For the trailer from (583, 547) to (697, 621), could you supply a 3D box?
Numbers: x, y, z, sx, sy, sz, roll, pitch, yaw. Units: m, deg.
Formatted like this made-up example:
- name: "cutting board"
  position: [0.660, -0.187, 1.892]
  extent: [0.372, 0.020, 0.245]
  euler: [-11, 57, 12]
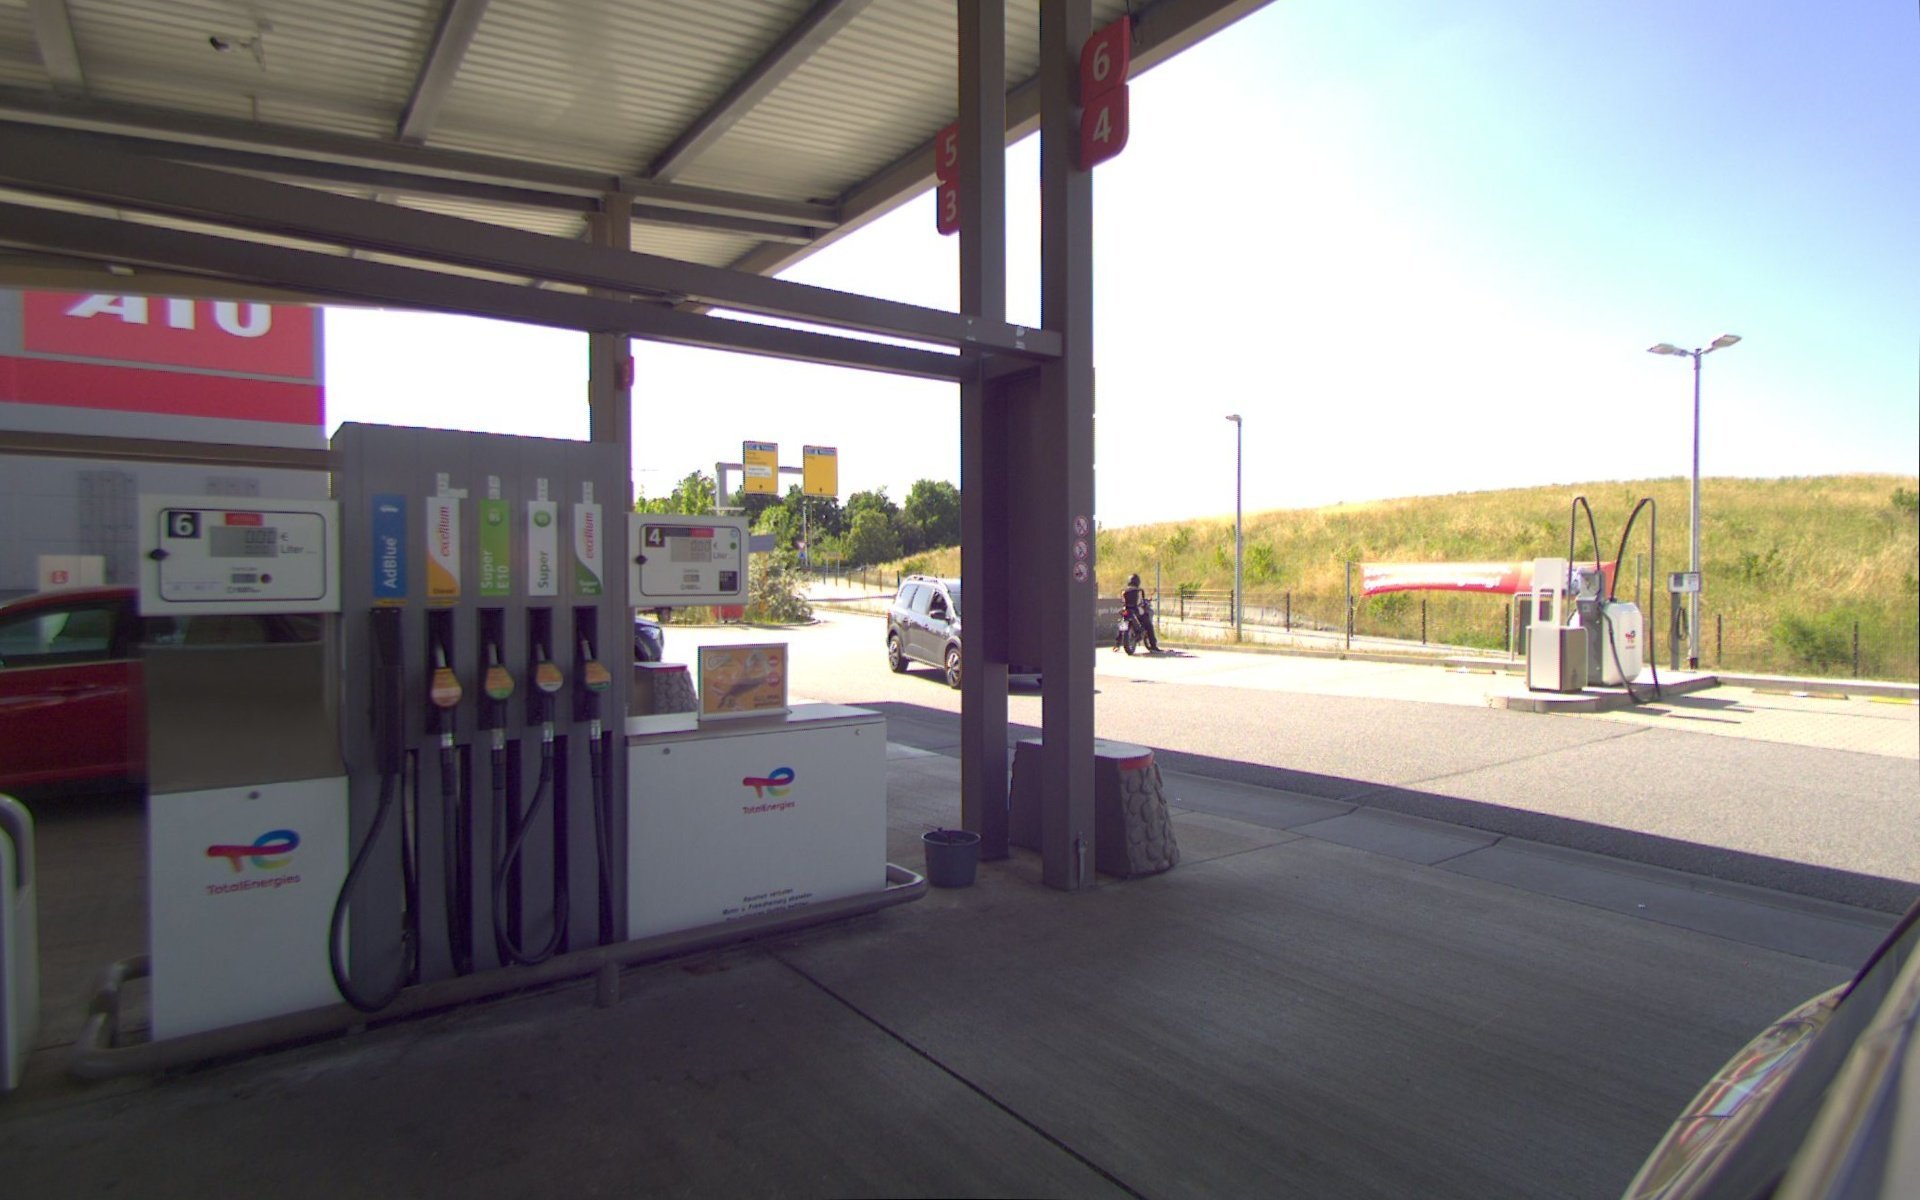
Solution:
- name: "trailer"
  position: [-11.181, -0.575, 35.641]
  extent: [1.972, 2.457, 3.981]
  euler: [1, 1, 15]

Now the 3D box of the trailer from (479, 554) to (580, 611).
- name: "trailer"
  position: [-19.593, -0.815, 46.239]
  extent: [1.980, 2.457, 3.965]
  euler: [1, 1, 26]

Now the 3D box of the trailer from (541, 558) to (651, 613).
- name: "trailer"
  position: [-14.341, -0.571, 40.053]
  extent: [1.786, 2.039, 3.960]
  euler: [1, 1, 28]

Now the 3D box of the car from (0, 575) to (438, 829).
- name: "car"
  position: [-5.937, 0.583, 6.748]
  extent: [4.154, 1.487, 1.703]
  euler: [0, 1, -37]

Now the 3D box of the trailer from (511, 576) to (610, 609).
- name: "trailer"
  position: [-16.369, -0.319, 41.626]
  extent: [1.564, 1.297, 3.682]
  euler: [1, 1, 28]

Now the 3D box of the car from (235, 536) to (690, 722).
- name: "car"
  position: [-5.982, 0.294, 12.441]
  extent: [4.708, 1.874, 2.034]
  euler: [1, 1, -37]

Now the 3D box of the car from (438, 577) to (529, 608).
- name: "car"
  position: [-22.079, -0.371, 47.029]
  extent: [1.660, 1.334, 3.811]
  euler: [1, 1, 19]

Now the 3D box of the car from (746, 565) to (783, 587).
- name: "car"
  position: [-14.272, -1.761, 73.778]
  extent: [1.672, 1.441, 4.104]
  euler: [0, 2, -24]

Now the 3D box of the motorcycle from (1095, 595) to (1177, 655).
- name: "motorcycle"
  position: [3.808, 0.499, 21.655]
  extent: [1.036, 1.119, 2.392]
  euler: [1, 2, 28]

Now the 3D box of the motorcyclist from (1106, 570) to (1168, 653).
- name: "motorcyclist"
  position: [3.787, 0.222, 21.623]
  extent: [1.025, 1.709, 1.088]
  euler: [1, 1, 29]

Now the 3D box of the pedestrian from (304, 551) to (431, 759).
- name: "pedestrian"
  position: [-5.236, 0.445, 8.942]
  extent: [0.910, 1.724, 0.703]
  euler: [0, 0, -36]

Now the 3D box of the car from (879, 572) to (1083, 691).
- name: "car"
  position: [0.156, 0.405, 16.678]
  extent: [1.707, 1.665, 4.642]
  euler: [0, 1, -21]
